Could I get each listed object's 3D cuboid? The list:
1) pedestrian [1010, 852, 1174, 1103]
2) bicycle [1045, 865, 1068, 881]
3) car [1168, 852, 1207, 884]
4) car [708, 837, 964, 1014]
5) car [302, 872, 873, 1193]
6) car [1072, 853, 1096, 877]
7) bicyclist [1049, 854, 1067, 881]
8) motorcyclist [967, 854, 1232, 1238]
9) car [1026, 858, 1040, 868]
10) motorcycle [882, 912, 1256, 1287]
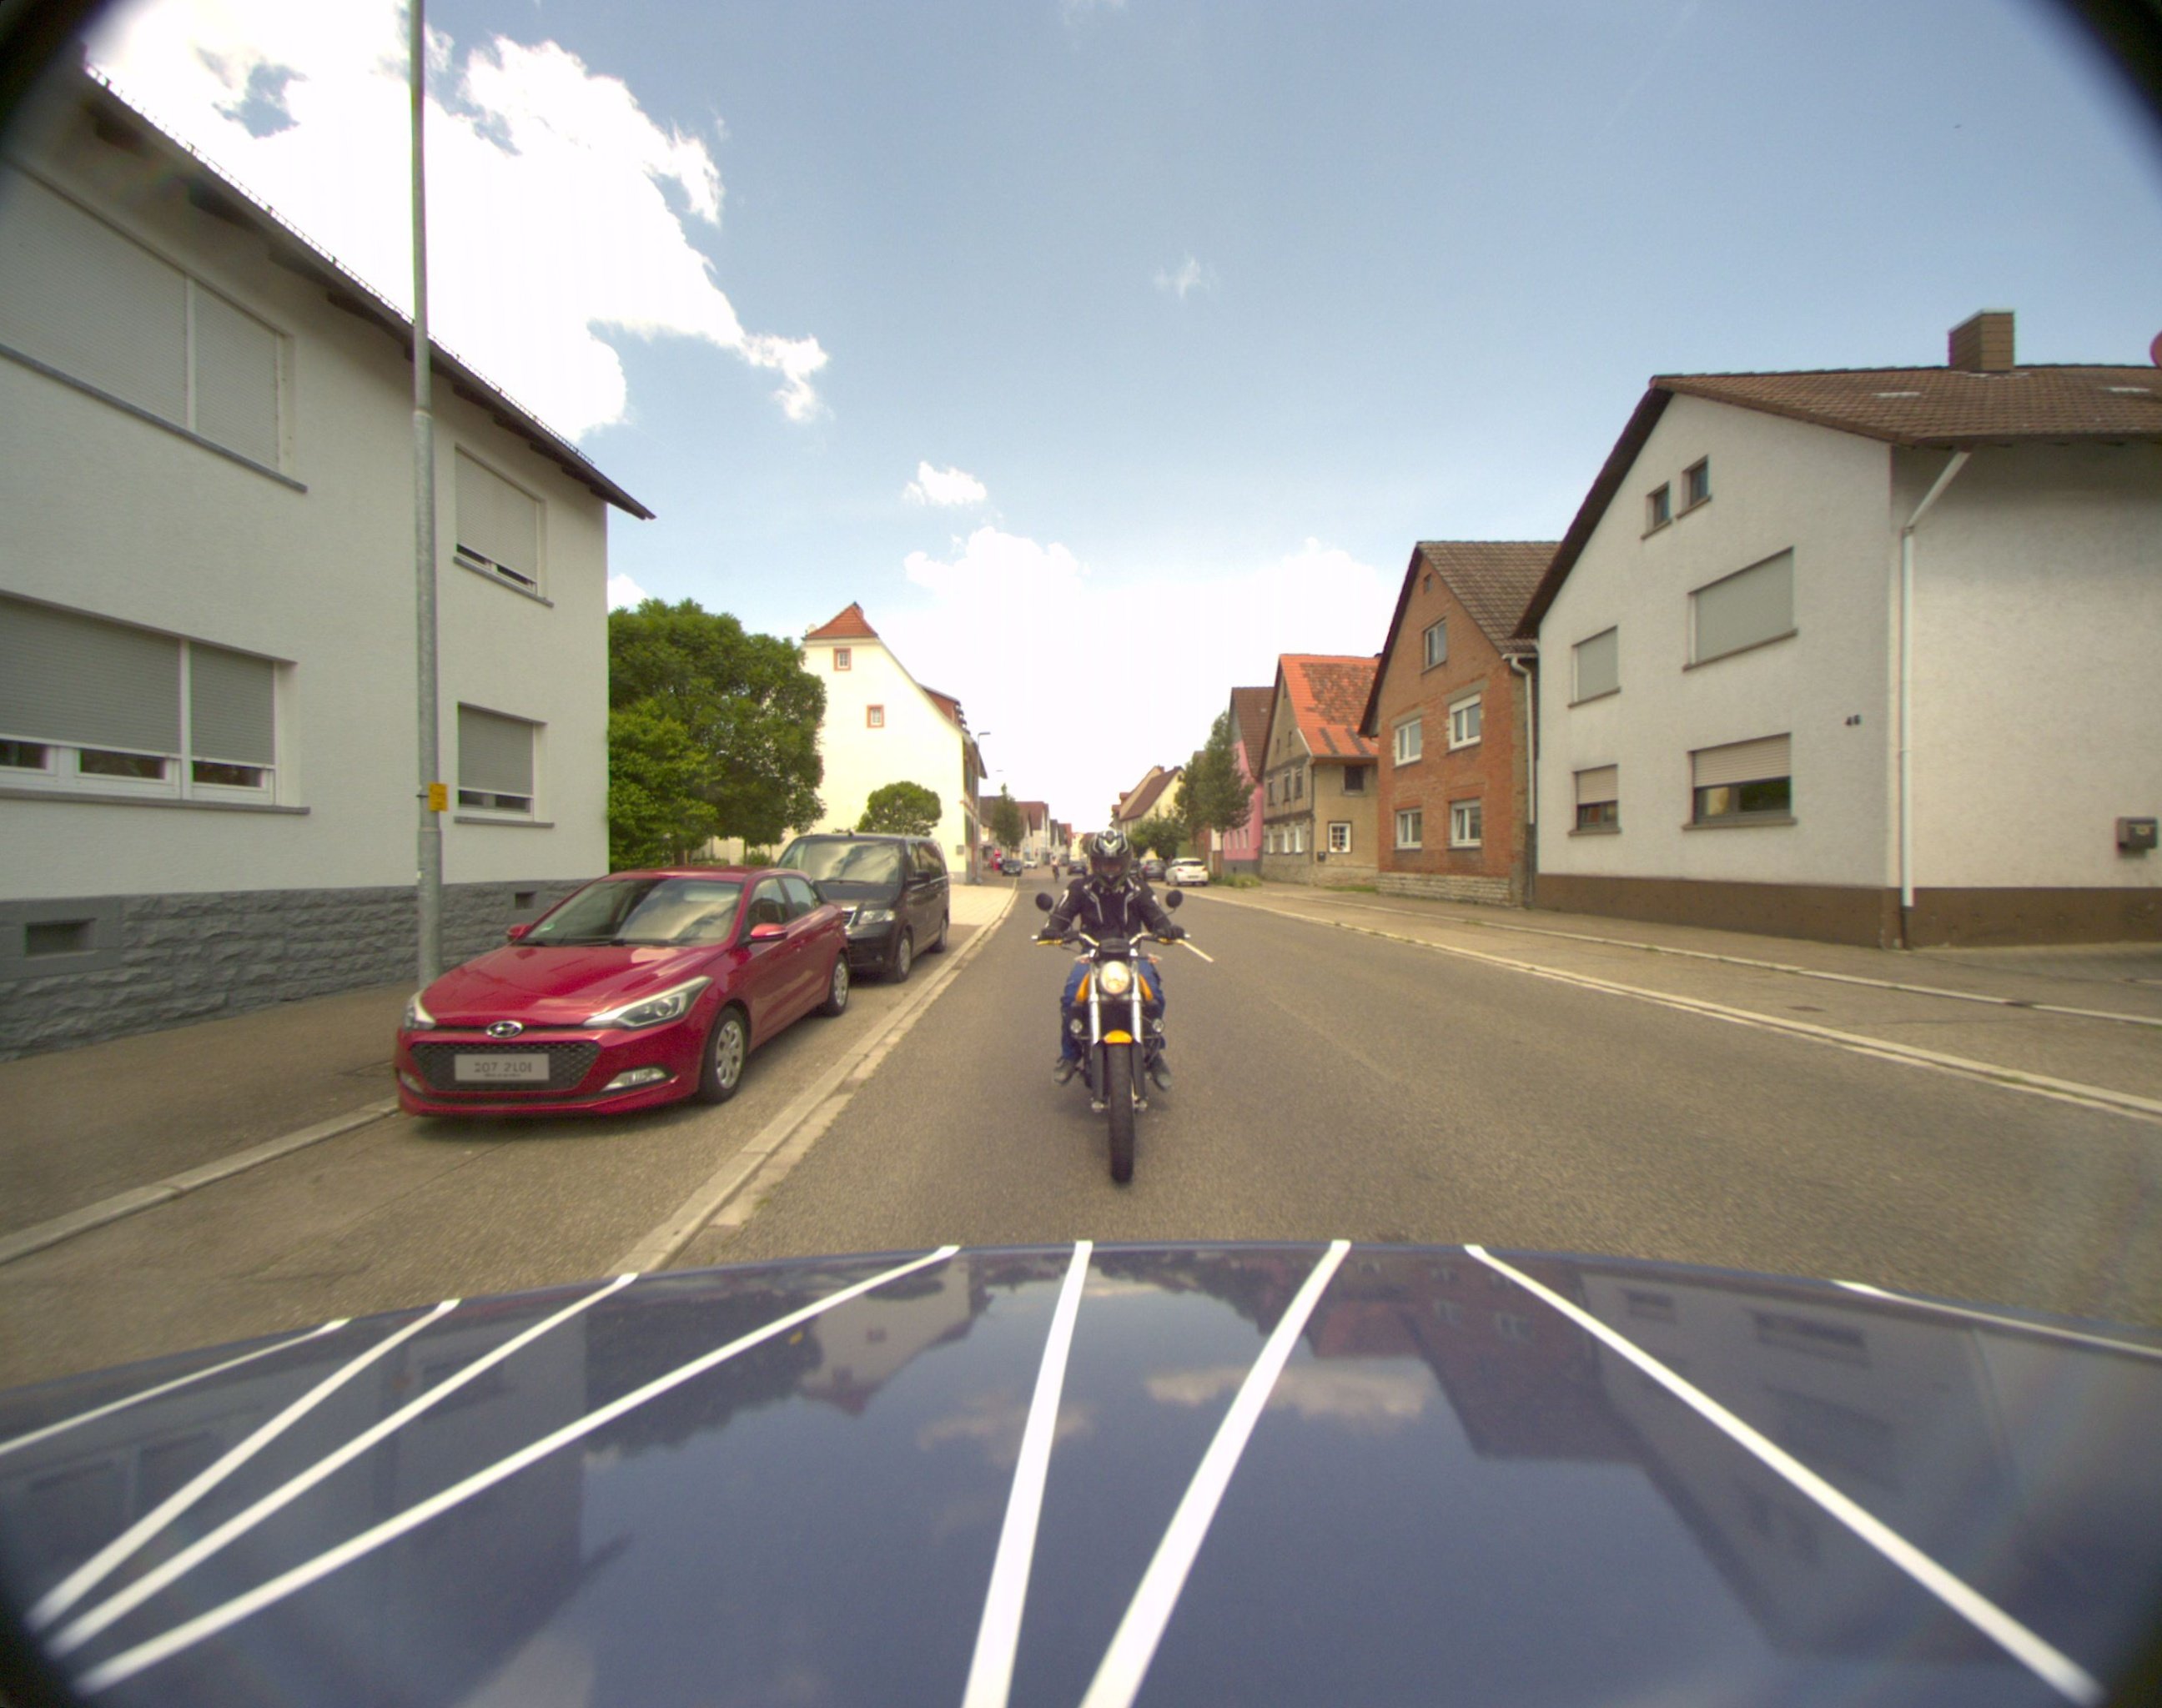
[{"bbox_3d":[0.062,0.791,5.275,1.000,1.565,0.799,-2,2,-2],"label":"pedestrian"},{"bbox_3d":[-1.568,1.206,49.221,0.932,1.005,1.927,-2,-1,17],"label":"bicycle"},{"bbox_3d":[5.627,0.730,40.432,1.683,1.521,3.499,-2,1,2],"label":"car"},{"bbox_3d":[-3.112,0.749,11.049,1.930,1.904,5.245,-2,1,0],"label":"car"},{"bbox_3d":[-3.115,0.952,6.138,1.744,1.495,4.557,-1,0,-2],"label":"car"},{"bbox_3d":[0.295,0.985,70.497,1.998,2.002,3.999,-2,1,2],"label":"car"},{"bbox_3d":[-1.492,0.866,49.382,0.908,1.679,0.762,-2,2,18],"label":"bicyclist"},{"bbox_3d":[0.116,0.821,3.769,0.998,1.591,0.801,-1,2,29],"label":"motorcyclist"},{"bbox_3d":[-7.732,1.423,123.427,1.998,1.345,3.999,-2,1,0],"label":"car"},{"bbox_3d":[0.105,1.004,3.975,0.983,1.233,2.107,-3,-1,29],"label":"motorcycle"}]
